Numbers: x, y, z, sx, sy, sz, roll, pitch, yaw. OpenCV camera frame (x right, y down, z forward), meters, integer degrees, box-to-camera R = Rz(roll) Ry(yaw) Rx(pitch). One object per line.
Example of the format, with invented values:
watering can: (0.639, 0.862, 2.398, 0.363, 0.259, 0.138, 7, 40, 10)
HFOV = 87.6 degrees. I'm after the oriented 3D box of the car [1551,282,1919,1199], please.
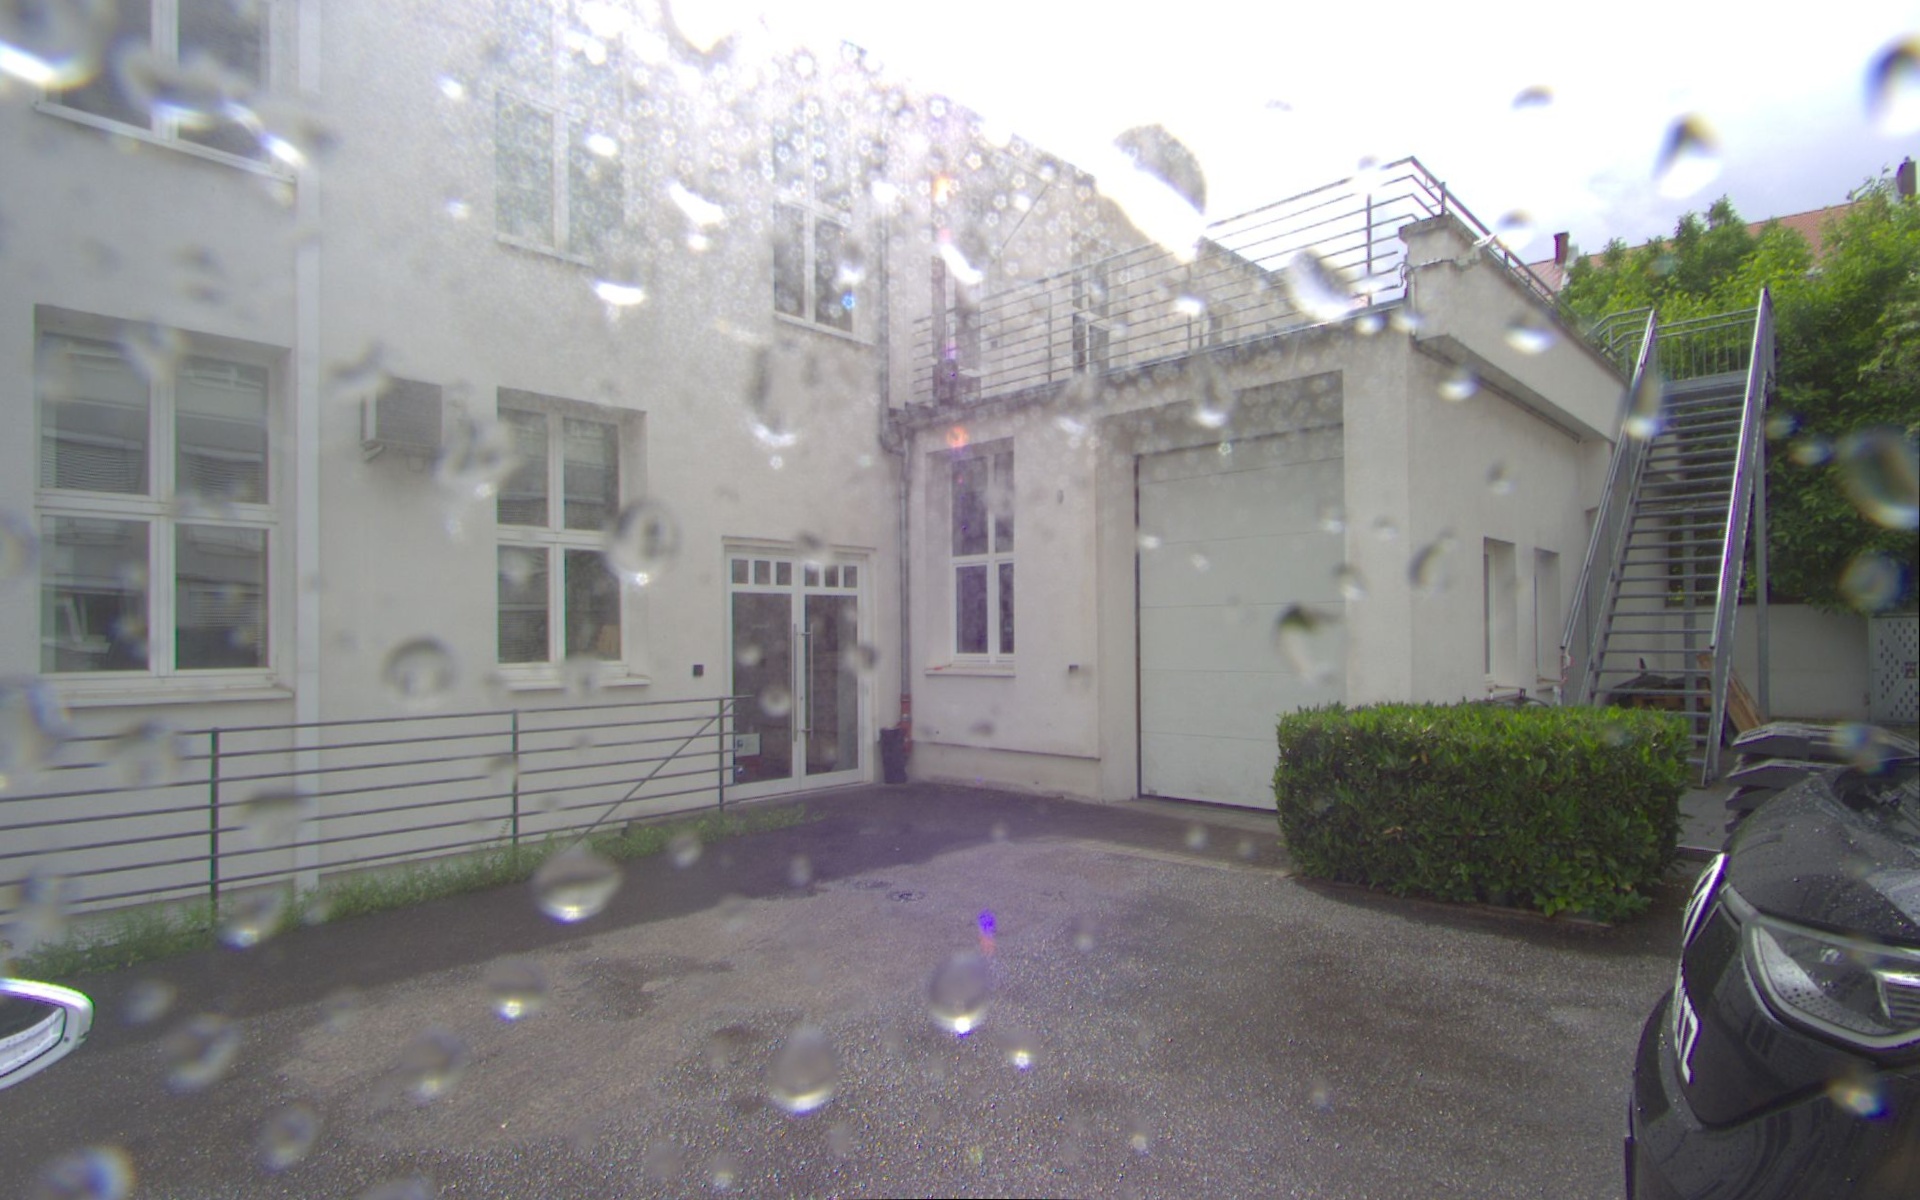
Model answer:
car: (3.216, 0.545, 0.635, 4.688, 1.888, 1.958, -3, -3, 37)
